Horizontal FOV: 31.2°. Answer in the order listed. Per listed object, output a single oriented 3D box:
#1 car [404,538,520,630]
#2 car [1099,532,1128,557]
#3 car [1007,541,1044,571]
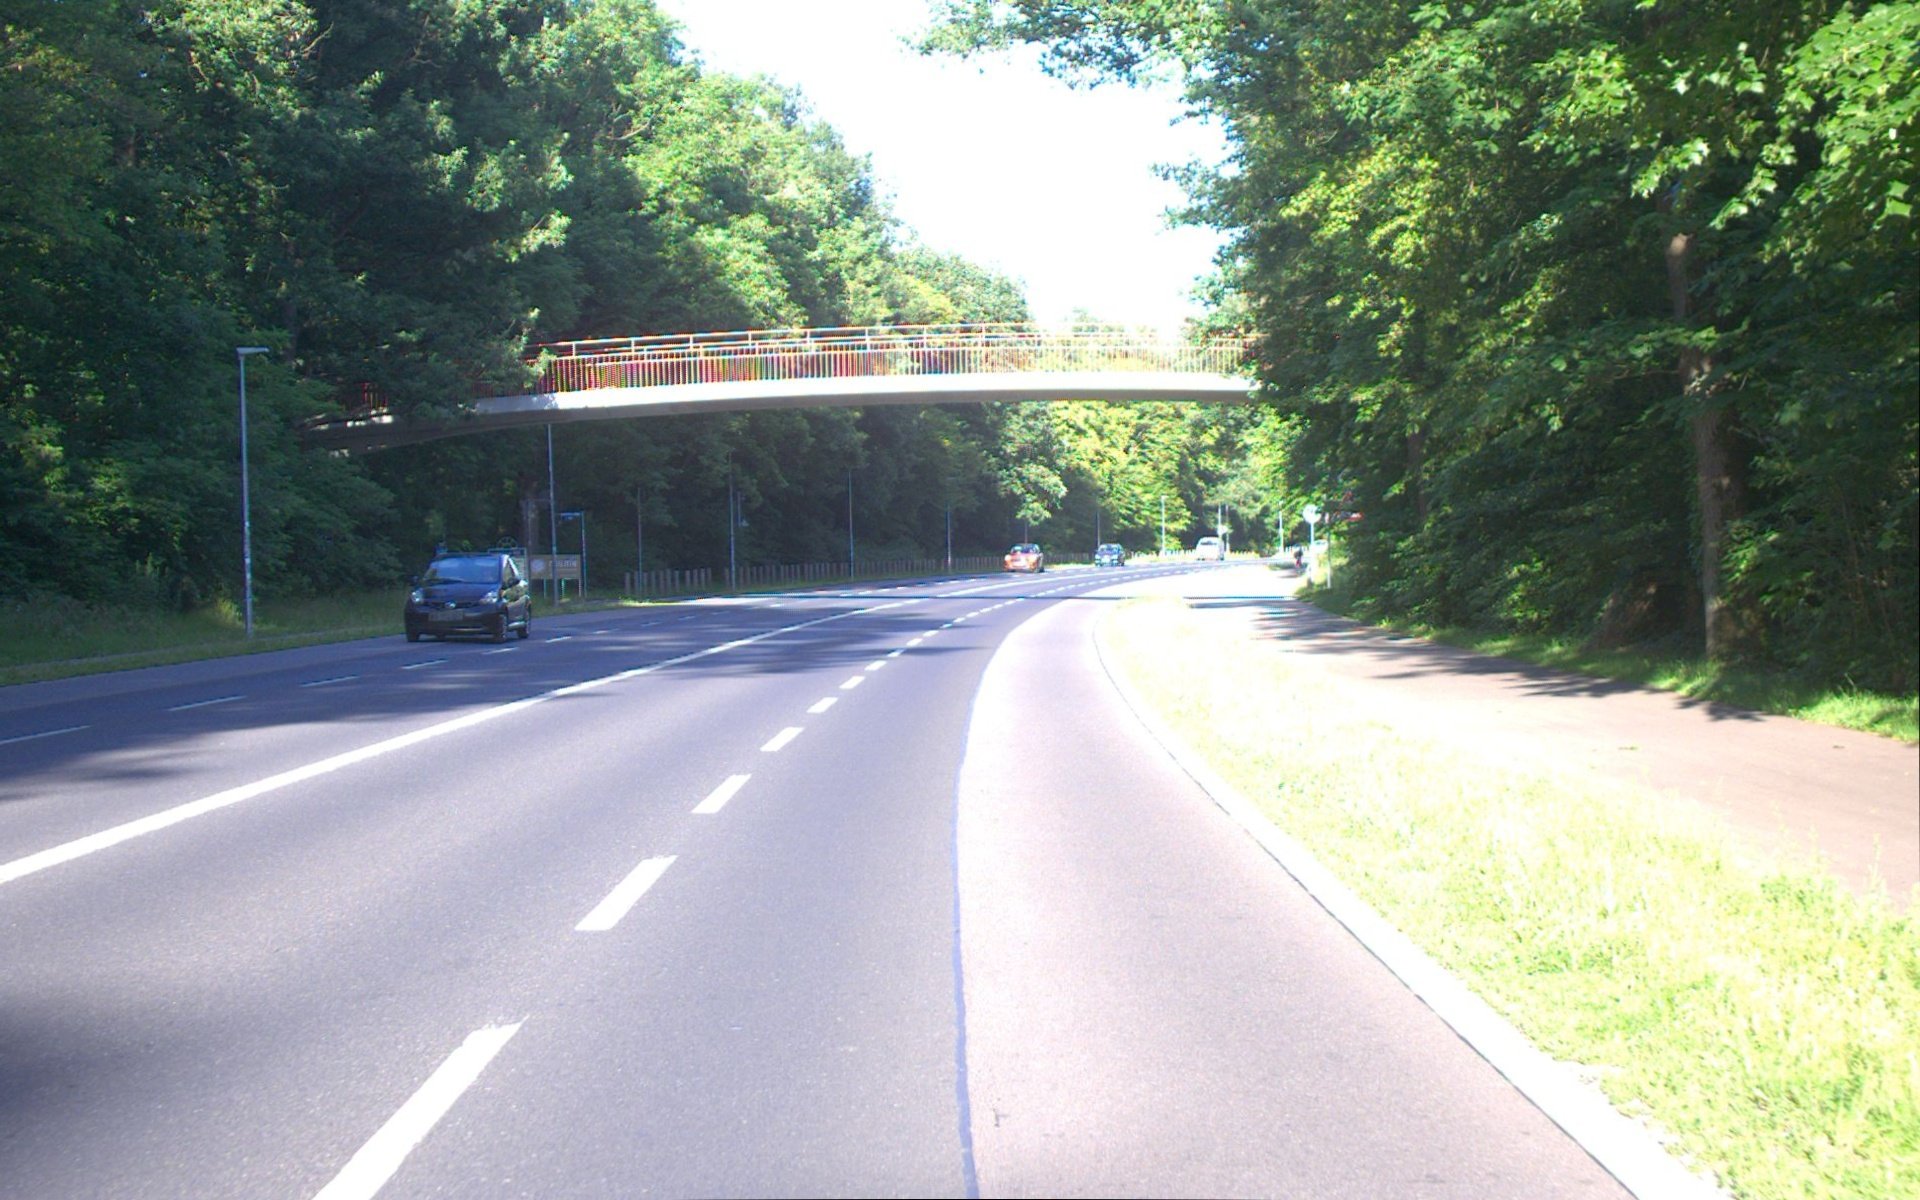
[{"bbox_3d":[-8.172,-0.291,56.619,1.495,1.439,3.500,-1,1,-2],"label":"car"},{"bbox_3d":[10.093,-3.670,225.675,1.723,1.568,4.177,1,1,5],"label":"car"},{"bbox_3d":[3.564,-2.394,187.251,1.762,1.577,4.168,1,1,5],"label":"car"}]
